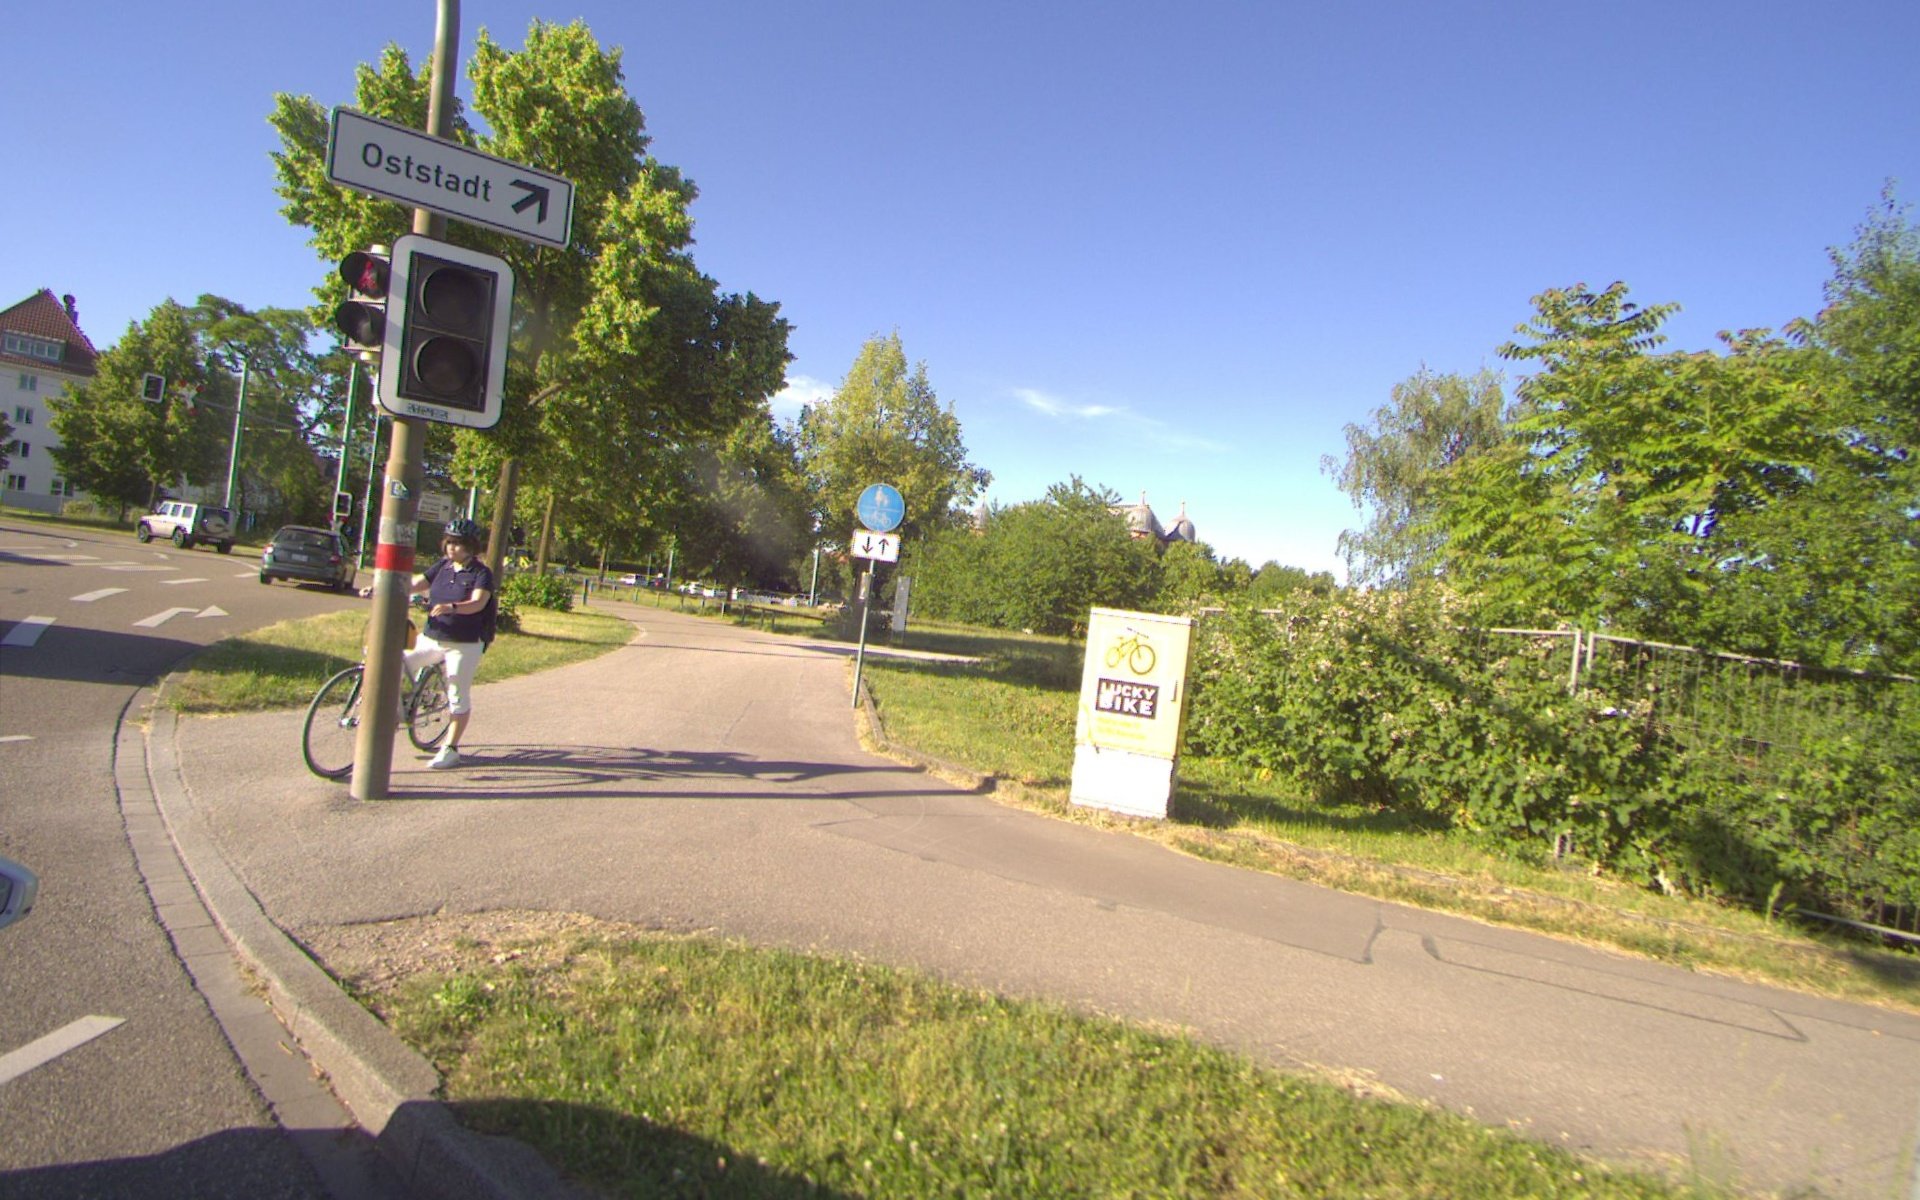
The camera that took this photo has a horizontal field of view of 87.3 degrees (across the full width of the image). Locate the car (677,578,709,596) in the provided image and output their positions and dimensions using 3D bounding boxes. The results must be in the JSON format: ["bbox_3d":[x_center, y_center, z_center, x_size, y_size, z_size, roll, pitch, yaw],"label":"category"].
[{"bbox_3d":[-28.149,-1.415,105.945,1.819,1.573,3.770,9,-3,-37],"label":"car"}]

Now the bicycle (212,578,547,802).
[{"bbox_3d":[-3.701,0.509,6.731,0.860,1.169,2.216,6,0,0],"label":"bicycle"}]

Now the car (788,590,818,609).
[{"bbox_3d":[-17.921,-0.095,114.462,1.680,1.799,3.813,8,-3,-35],"label":"car"}]

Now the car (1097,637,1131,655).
[{"bbox_3d":[19.877,5.928,129.676,1.900,1.775,3.959,9,-3,-38],"label":"car"}]

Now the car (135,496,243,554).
[{"bbox_3d":[-32.680,-3.185,42.621,4.675,1.920,2.000,6,-1,32],"label":"car"}]

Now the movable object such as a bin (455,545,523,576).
[{"bbox_3d":[-42.723,-3.553,91.317,2.211,1.970,4.999,5,-4,43],"label":"movable object such as a bin"}]

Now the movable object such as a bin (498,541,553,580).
[{"bbox_3d":[-36.190,-3.296,83.763,4.978,2.820,1.992,5,-3,41],"label":"movable object such as a bin"}]

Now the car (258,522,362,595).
[{"bbox_3d":[-15.980,-1.034,24.910,1.700,1.453,4.122,7,-1,-28],"label":"car"}]

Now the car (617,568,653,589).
[{"bbox_3d":[-33.114,-2.221,102.428,1.985,1.742,3.959,9,-3,-39],"label":"car"}]

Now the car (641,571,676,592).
[{"bbox_3d":[-30.936,-1.937,103.119,1.985,1.788,3.959,9,-3,-39],"label":"car"}]

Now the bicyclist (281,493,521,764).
[{"bbox_3d":[-3.661,0.177,6.701,0.860,1.582,1.087,6,1,0],"label":"bicyclist"}]

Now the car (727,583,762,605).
[{"bbox_3d":[-23.457,-0.663,109.414,1.985,2.123,3.959,8,-3,-39],"label":"car"}]

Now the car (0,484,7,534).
[{"bbox_3d":[-32.918,-3.197,32.722,4.341,1.594,1.994,7,0,37],"label":"car"}]
